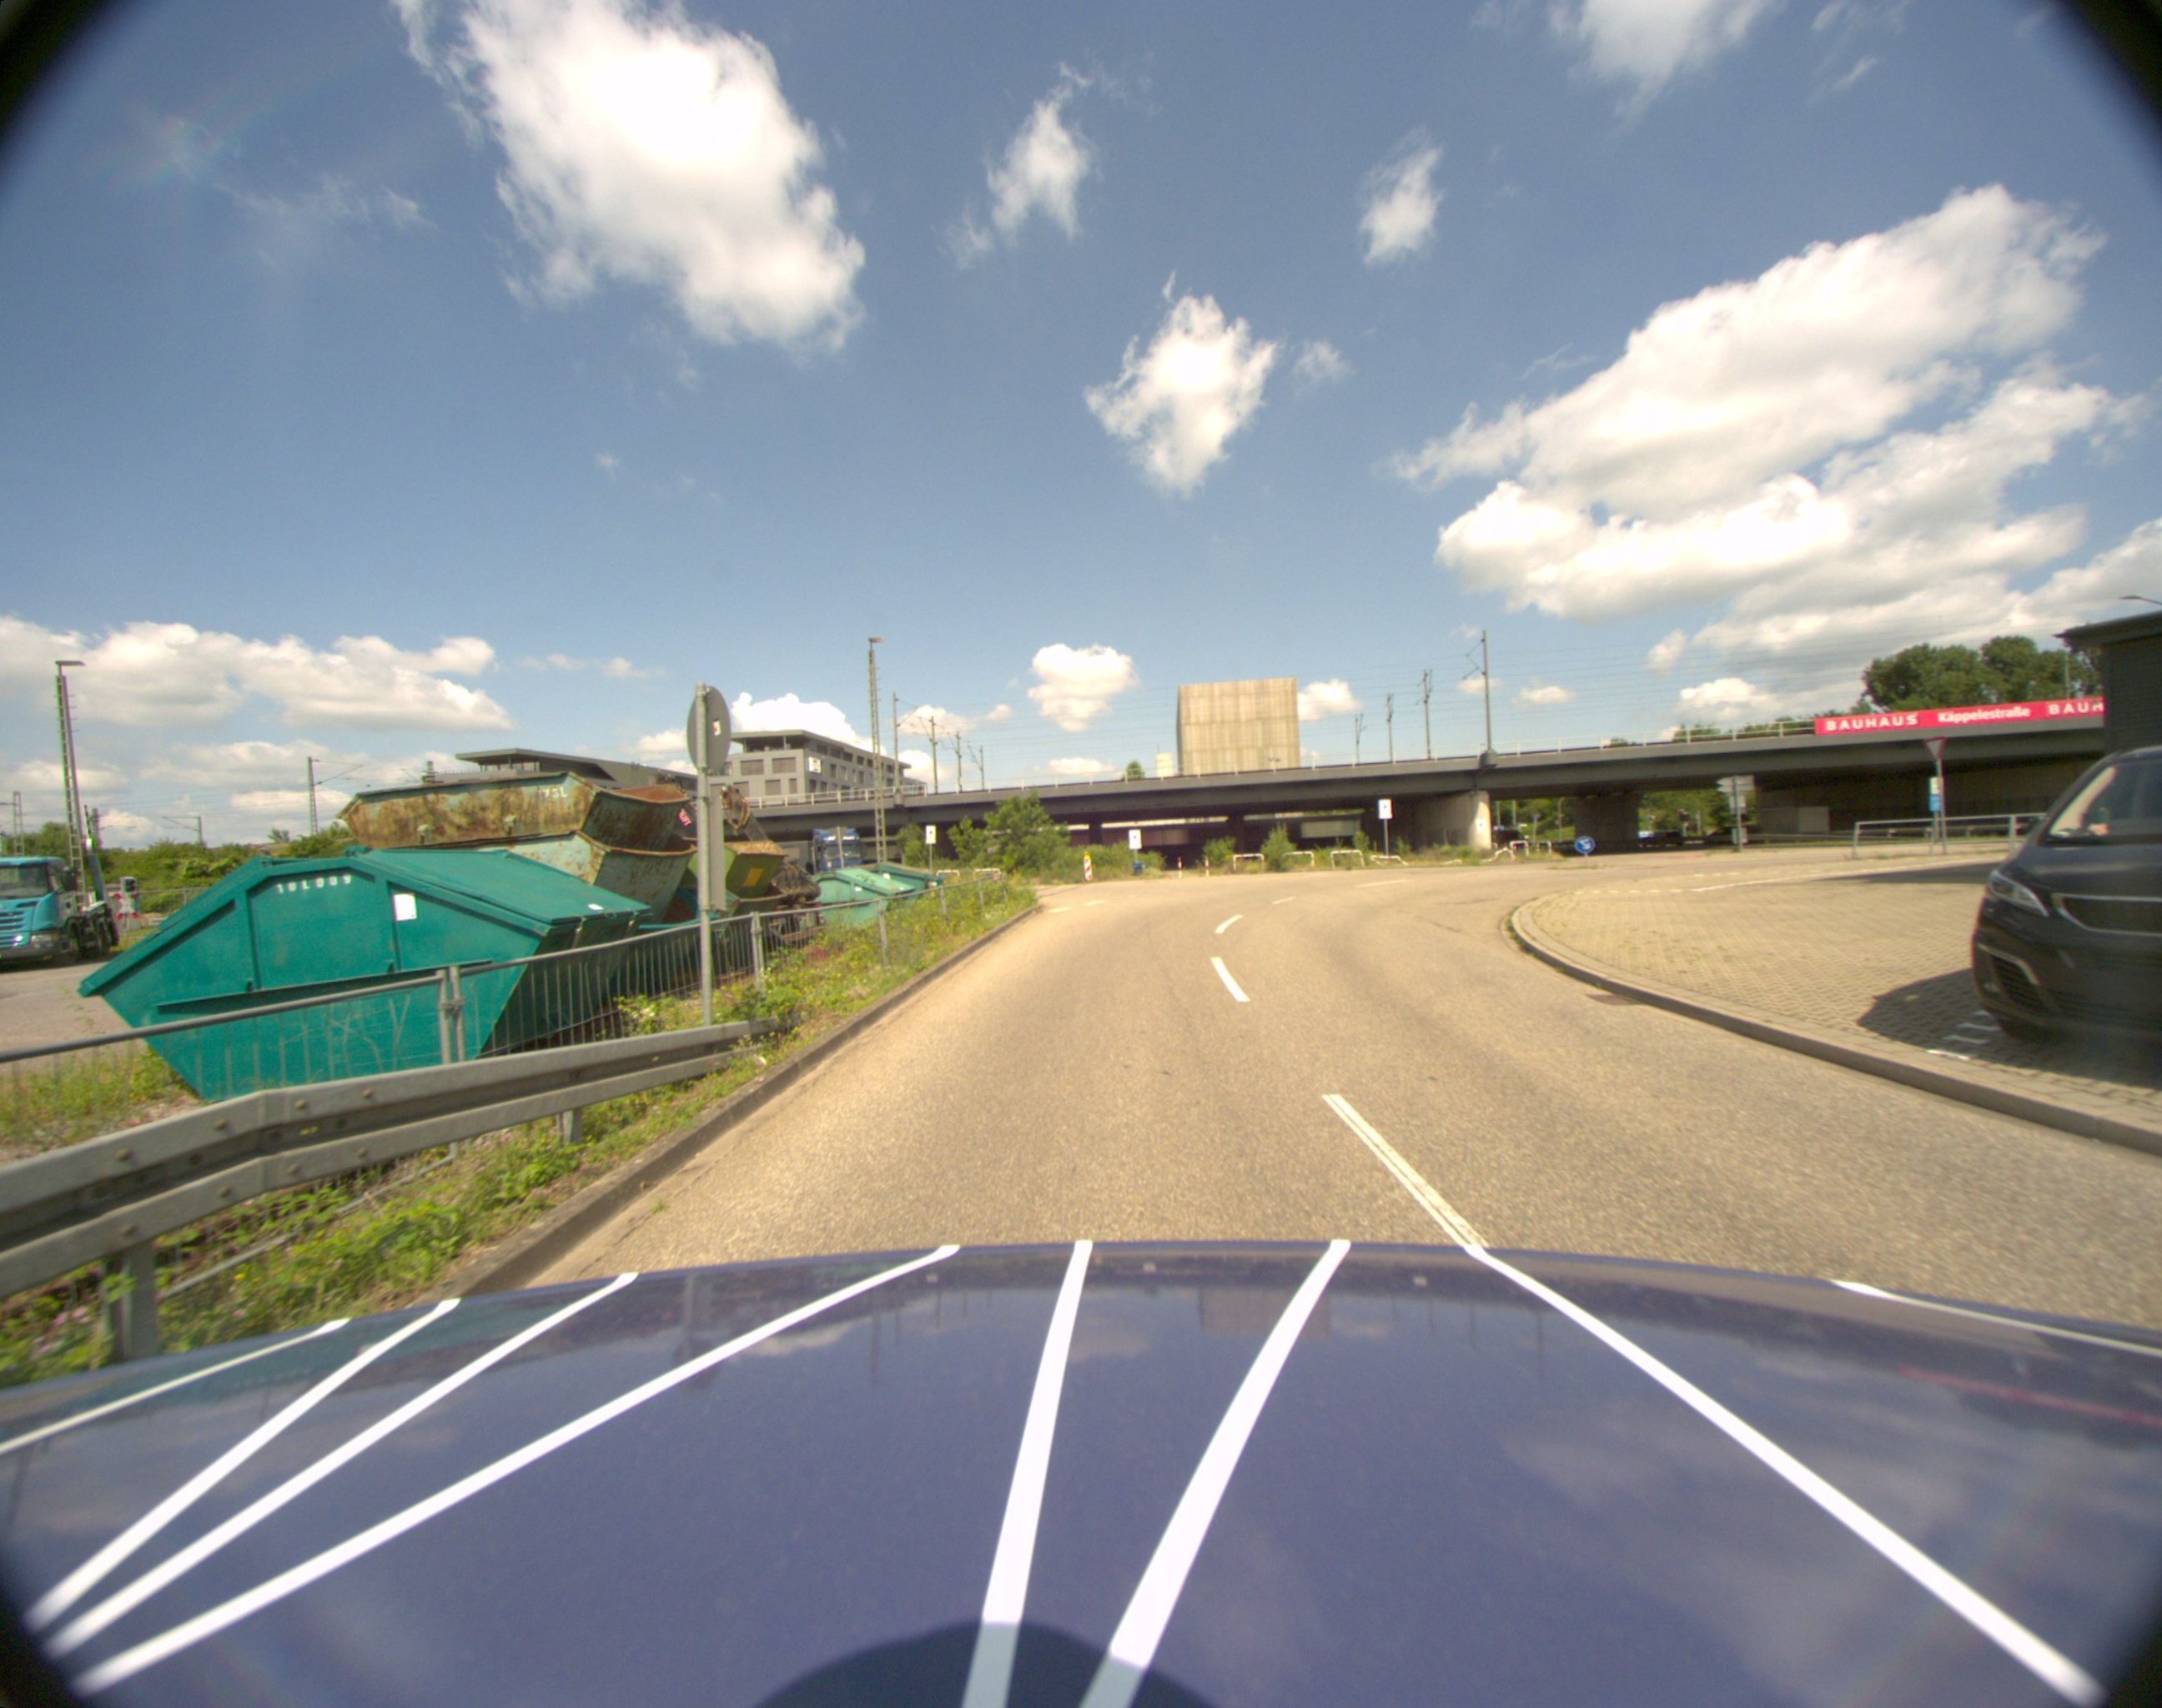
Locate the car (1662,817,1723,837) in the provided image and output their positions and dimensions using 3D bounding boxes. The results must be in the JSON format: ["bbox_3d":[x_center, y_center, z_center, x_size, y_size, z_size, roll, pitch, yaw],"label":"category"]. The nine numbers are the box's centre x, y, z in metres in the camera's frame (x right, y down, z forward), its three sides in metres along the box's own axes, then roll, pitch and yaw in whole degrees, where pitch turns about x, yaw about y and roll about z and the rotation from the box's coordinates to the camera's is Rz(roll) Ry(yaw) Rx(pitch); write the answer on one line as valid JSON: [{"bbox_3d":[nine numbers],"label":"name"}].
[{"bbox_3d":[57.512,-2.525,71.476,3.995,1.674,2.000,-2,1,5],"label":"car"}]

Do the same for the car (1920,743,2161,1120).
[{"bbox_3d":[7.963,0.168,4.643,5.347,1.905,1.996,-5,2,-21],"label":"car"}]

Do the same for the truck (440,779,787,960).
[{"bbox_3d":[-8.874,0.305,14.689,5.507,3.080,2.001,-2,1,6],"label":"truck"}]

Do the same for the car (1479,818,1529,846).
[{"bbox_3d":[39.266,-2.014,70.687,2.073,2.354,4.479,-3,1,1],"label":"car"}]

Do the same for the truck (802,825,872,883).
[{"bbox_3d":[-15.350,-0.009,47.377,2.764,3.255,8.182,-3,1,-27],"label":"truck"}]

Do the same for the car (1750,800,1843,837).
[{"bbox_3d":[51.423,-2.484,54.788,2.073,2.354,4.872,-3,1,1],"label":"car"}]

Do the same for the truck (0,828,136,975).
[{"bbox_3d":[-29.684,1.304,21.402,2.660,3.626,6.869,-6,3,-43],"label":"truck"}]
